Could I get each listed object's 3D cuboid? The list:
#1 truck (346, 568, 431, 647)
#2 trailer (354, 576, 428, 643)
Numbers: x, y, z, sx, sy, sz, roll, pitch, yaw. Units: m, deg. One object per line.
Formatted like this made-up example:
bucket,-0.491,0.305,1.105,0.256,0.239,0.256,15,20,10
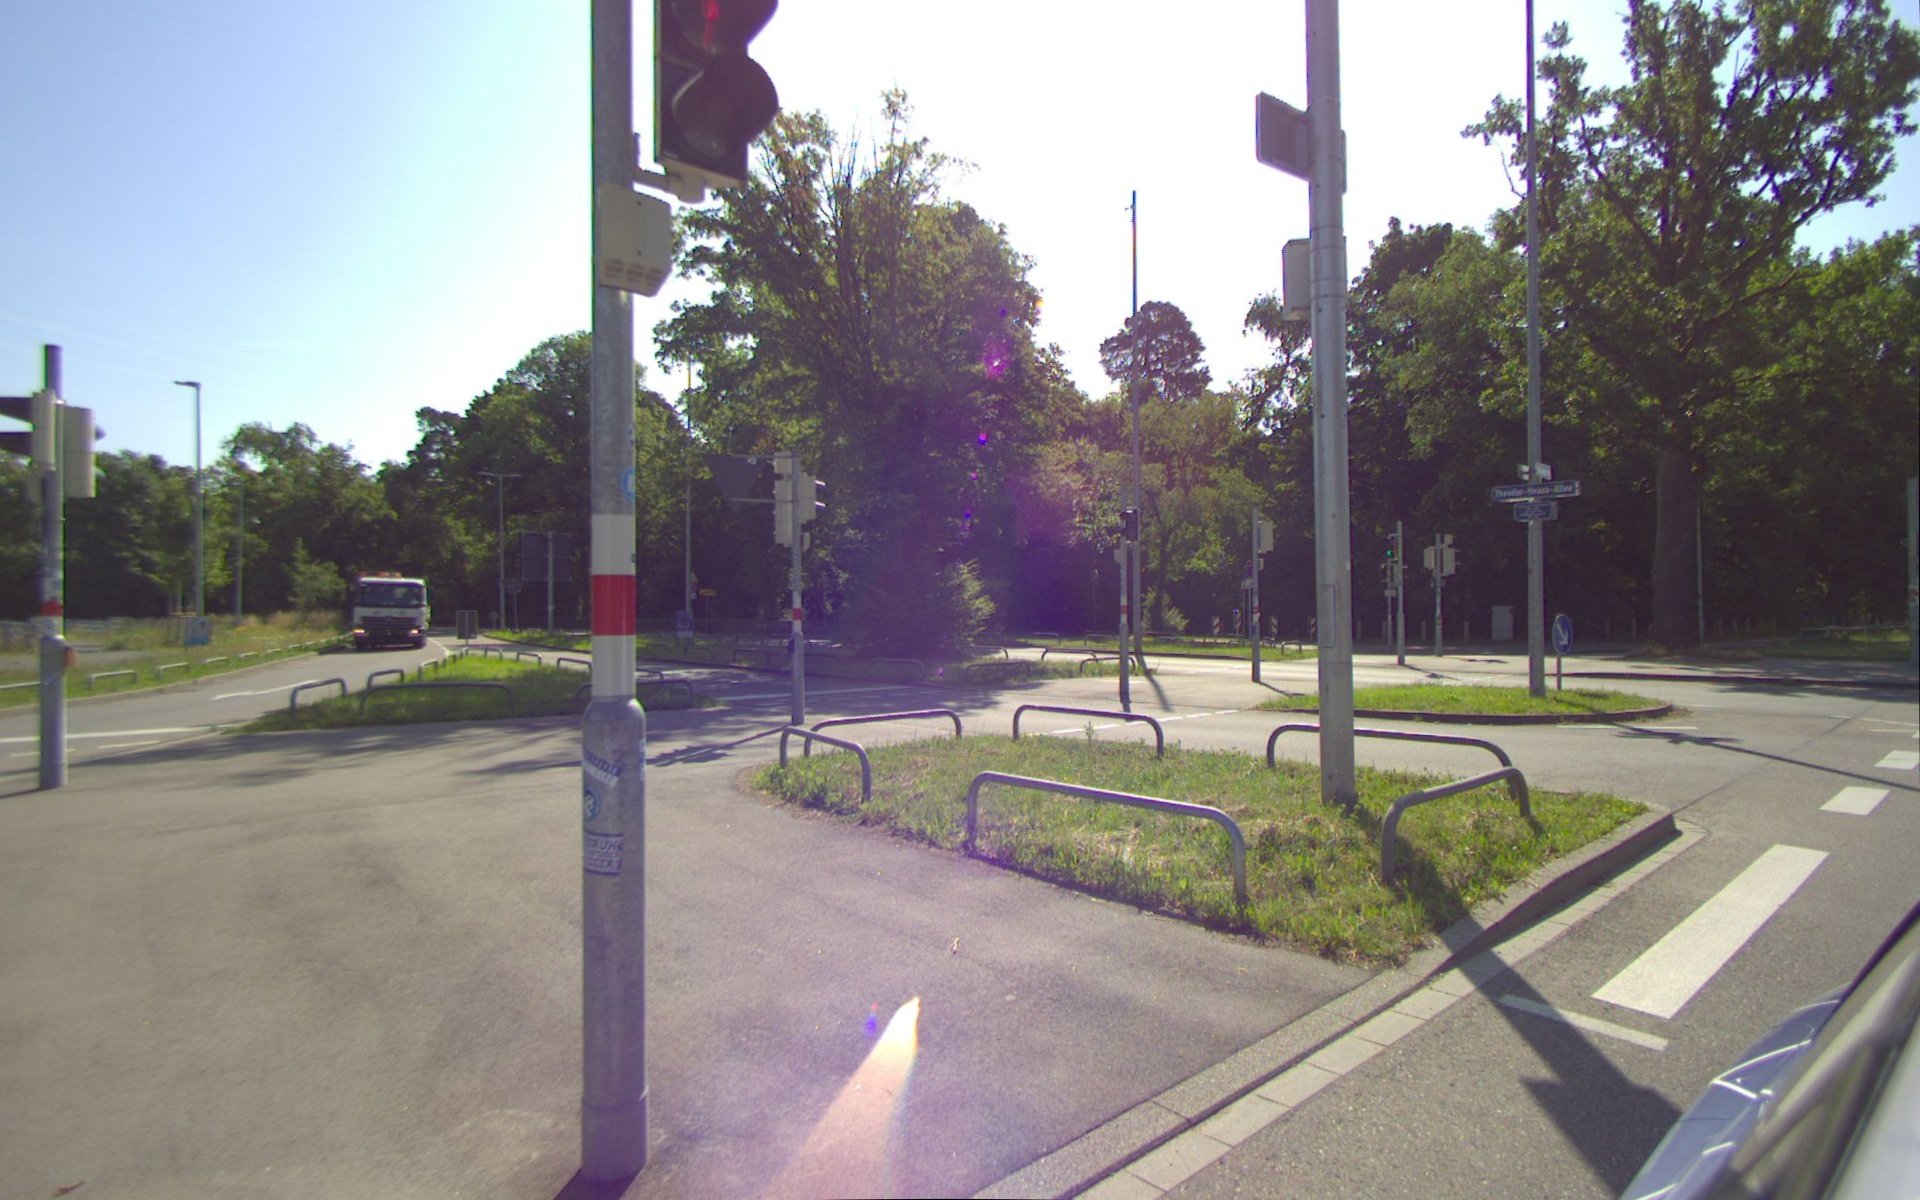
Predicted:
truck,-21.840,0.297,38.760,2.626,2.752,6.209,0,-1,-29
trailer,-24.970,0.414,44.501,2.649,2.722,6.895,0,-1,-29
